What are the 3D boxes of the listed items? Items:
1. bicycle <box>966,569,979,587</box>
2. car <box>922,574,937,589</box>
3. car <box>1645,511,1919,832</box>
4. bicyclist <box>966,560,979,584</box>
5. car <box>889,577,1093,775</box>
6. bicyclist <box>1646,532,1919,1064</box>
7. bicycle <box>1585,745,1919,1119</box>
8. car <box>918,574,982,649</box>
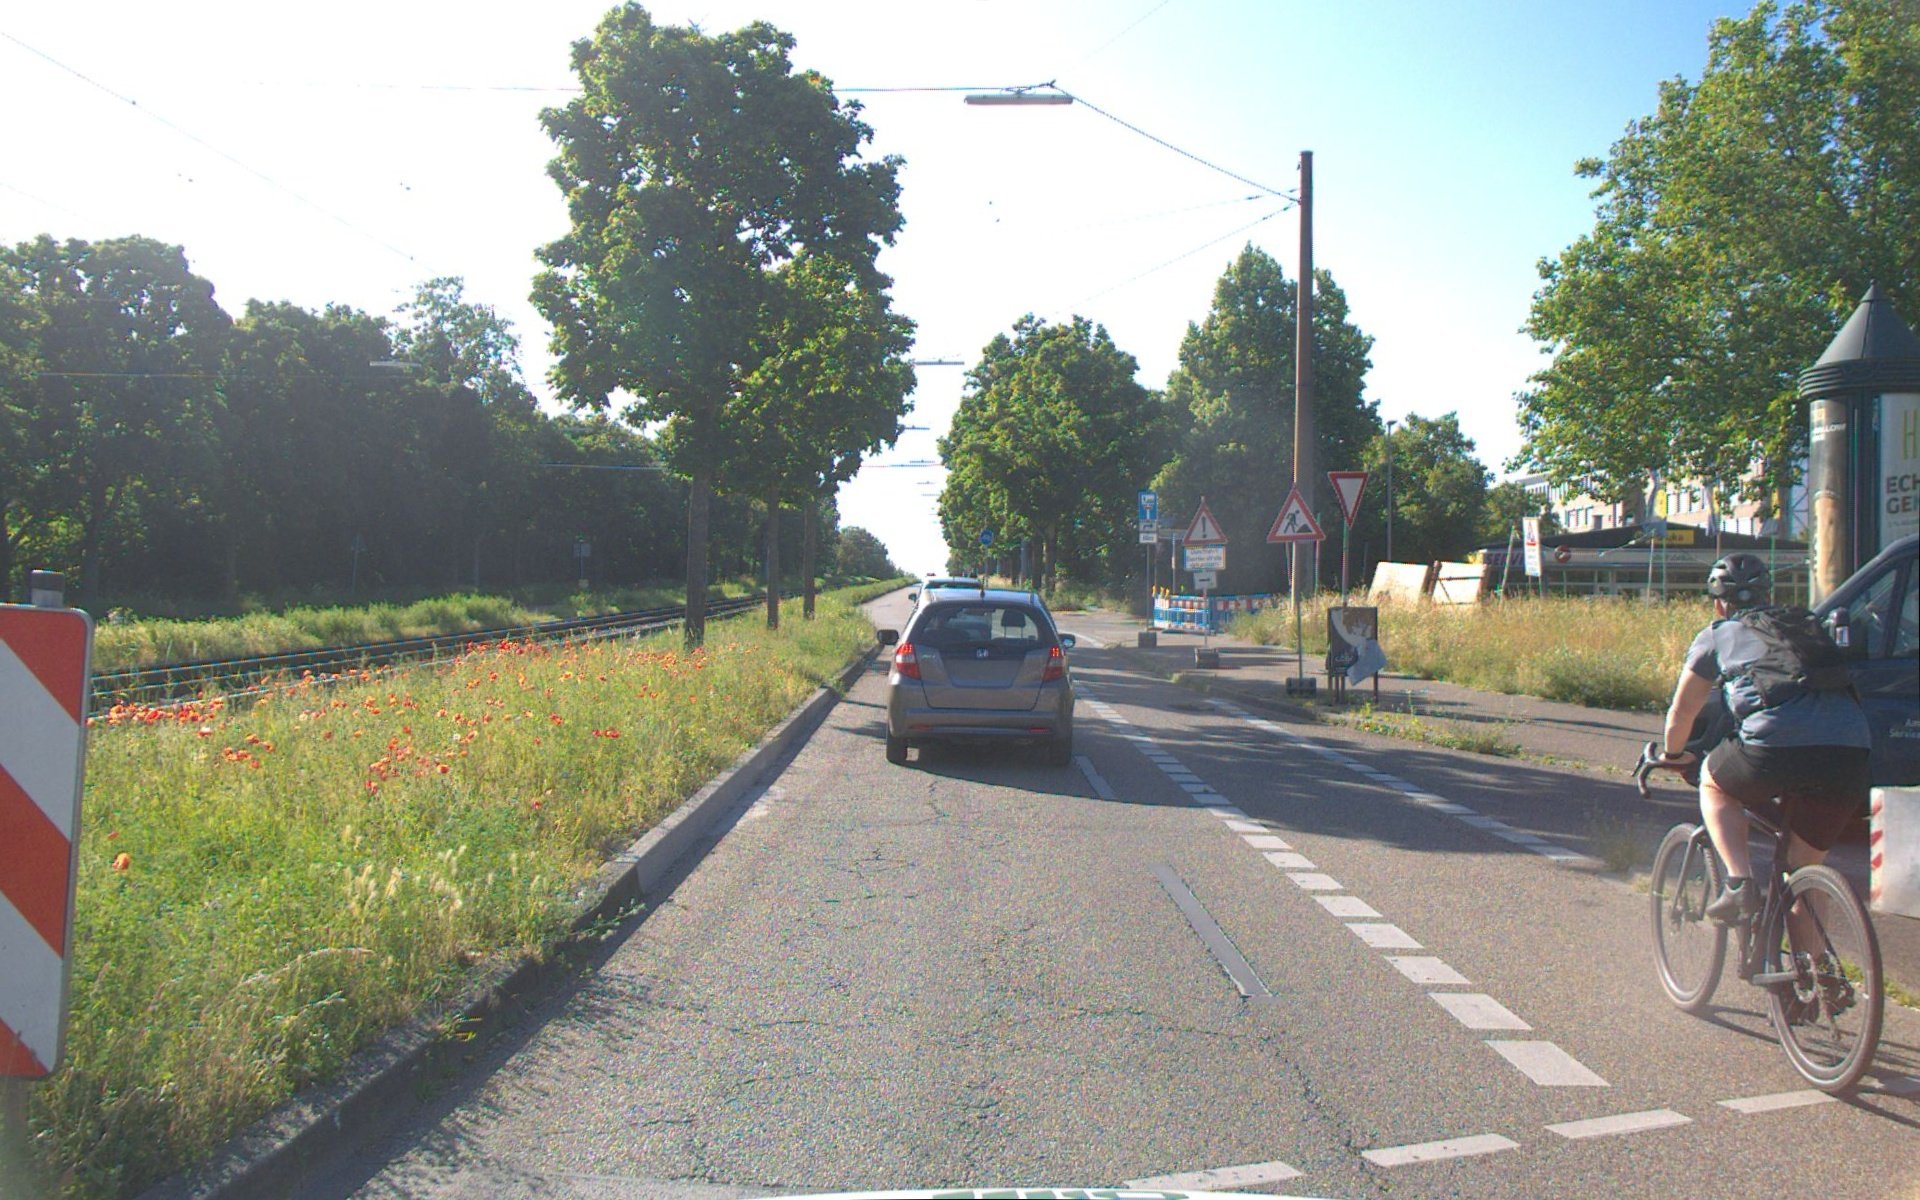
[{"bbox_3d":[0.817,-1.447,107.288,0.801,1.066,2.506,1,-1,1],"label":"bicycle"},{"bbox_3d":[-4.497,-2.750,243.193,1.952,2.049,4.000,-2,0,0],"label":"car"},{"bbox_3d":[7.549,0.481,11.172,5.025,2.106,2.119,0,0,40],"label":"car"},{"bbox_3d":[0.835,-1.816,107.312,0.801,1.551,0.966,1,-1,1],"label":"bicyclist"},{"bbox_3d":[0.185,0.613,15.602,1.637,1.541,3.672,2,1,-3],"label":"car"},{"bbox_3d":[2.890,0.636,5.787,0.602,1.709,0.933,0,0,1],"label":"bicyclist"},{"bbox_3d":[2.888,1.088,6.004,0.513,0.939,2.089,0,0,2],"label":"bicycle"},{"bbox_3d":[-0.189,0.243,35.837,1.323,1.554,3.123,0,0,0],"label":"car"}]
